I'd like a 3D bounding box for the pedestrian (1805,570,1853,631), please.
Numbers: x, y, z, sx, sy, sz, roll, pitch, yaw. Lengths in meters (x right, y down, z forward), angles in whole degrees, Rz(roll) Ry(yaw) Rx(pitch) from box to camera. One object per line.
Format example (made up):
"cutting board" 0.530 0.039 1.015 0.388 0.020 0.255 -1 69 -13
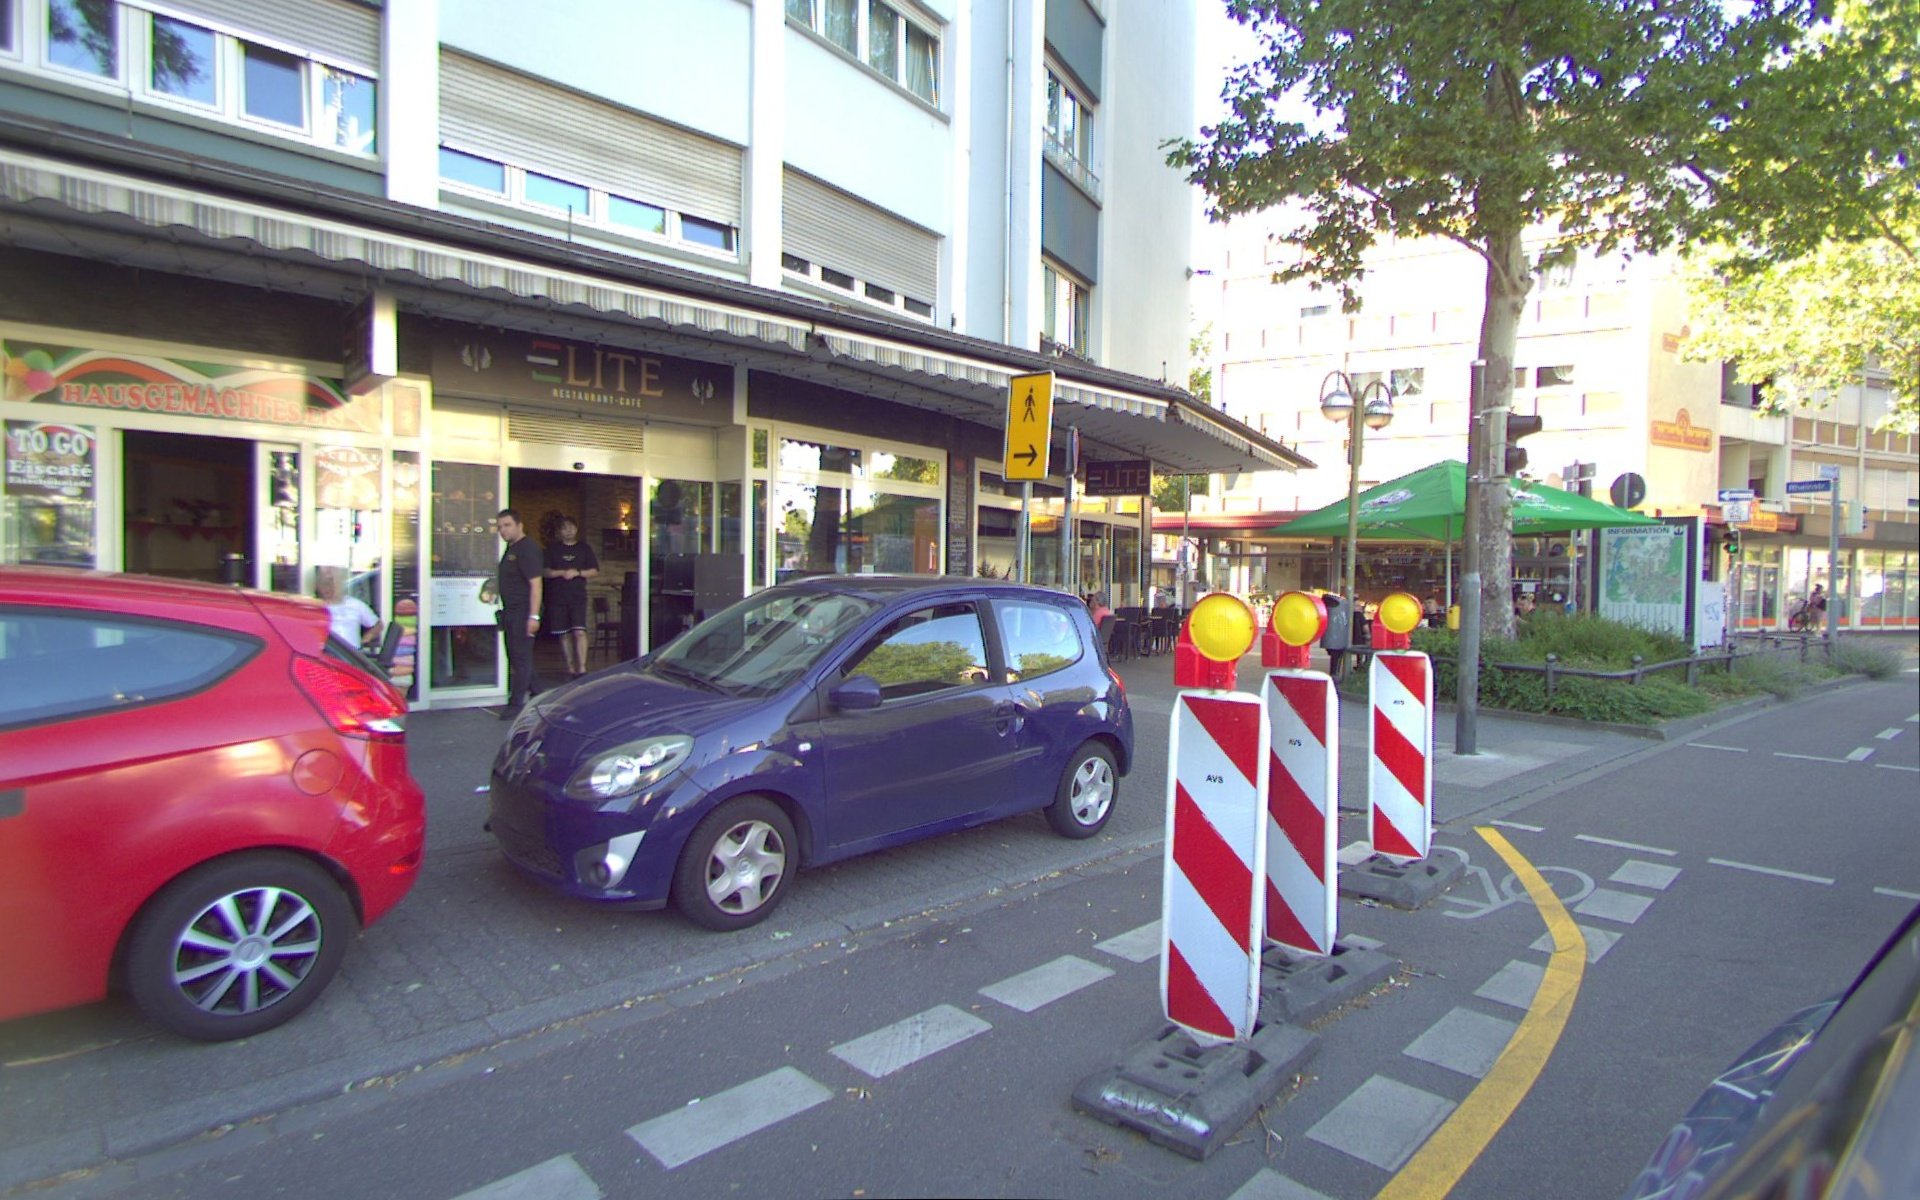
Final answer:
"pedestrian" 25.919 -0.004 30.182 0.883 1.779 0.751 0 1 -24

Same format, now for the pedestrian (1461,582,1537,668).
"pedestrian" 8.420 0.372 15.820 0.752 1.301 0.721 0 1 -27

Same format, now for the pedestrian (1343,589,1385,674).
"pedestrian" 5.945 0.453 14.913 0.460 1.235 0.432 1 0 5

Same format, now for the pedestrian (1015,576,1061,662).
"pedestrian" 1.168 0.275 15.276 0.541 1.259 0.521 2 1 -7

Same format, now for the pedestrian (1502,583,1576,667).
"pedestrian" 9.271 0.382 16.222 0.753 1.301 0.720 0 1 -28

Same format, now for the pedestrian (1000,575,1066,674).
"pedestrian" 0.995 0.315 13.750 0.644 1.267 0.711 3 1 25

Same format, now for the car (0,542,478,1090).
"car" -3.641 0.564 2.850 1.667 1.446 3.786 5 4 44

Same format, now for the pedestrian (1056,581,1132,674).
"pedestrian" 1.859 0.368 14.025 0.838 1.213 0.644 3 1 27

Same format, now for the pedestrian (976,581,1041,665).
"pedestrian" 0.705 0.322 14.654 0.710 1.144 0.645 3 1 25

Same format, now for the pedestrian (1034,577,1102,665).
"pedestrian" 1.589 0.298 14.916 0.664 1.233 0.706 3 1 43

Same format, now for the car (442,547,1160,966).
"car" -0.646 0.531 5.503 3.545 1.484 1.621 0 4 -44

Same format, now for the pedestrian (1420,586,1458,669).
"pedestrian" 7.458 0.419 15.769 0.427 1.234 0.465 3 2 20

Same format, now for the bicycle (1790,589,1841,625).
"bicycle" 28.127 0.217 33.253 1.933 1.157 0.530 0 1 -26

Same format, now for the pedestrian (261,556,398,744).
"pedestrian" -4.821 0.322 7.710 0.765 1.247 1.207 -1 5 -38

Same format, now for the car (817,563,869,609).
"car" -4.658 -0.585 40.767 1.960 1.771 4.004 1 1 -5

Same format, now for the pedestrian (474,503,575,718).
"pedestrian" -3.731 0.068 8.668 0.579 1.756 0.596 1 3 -43
